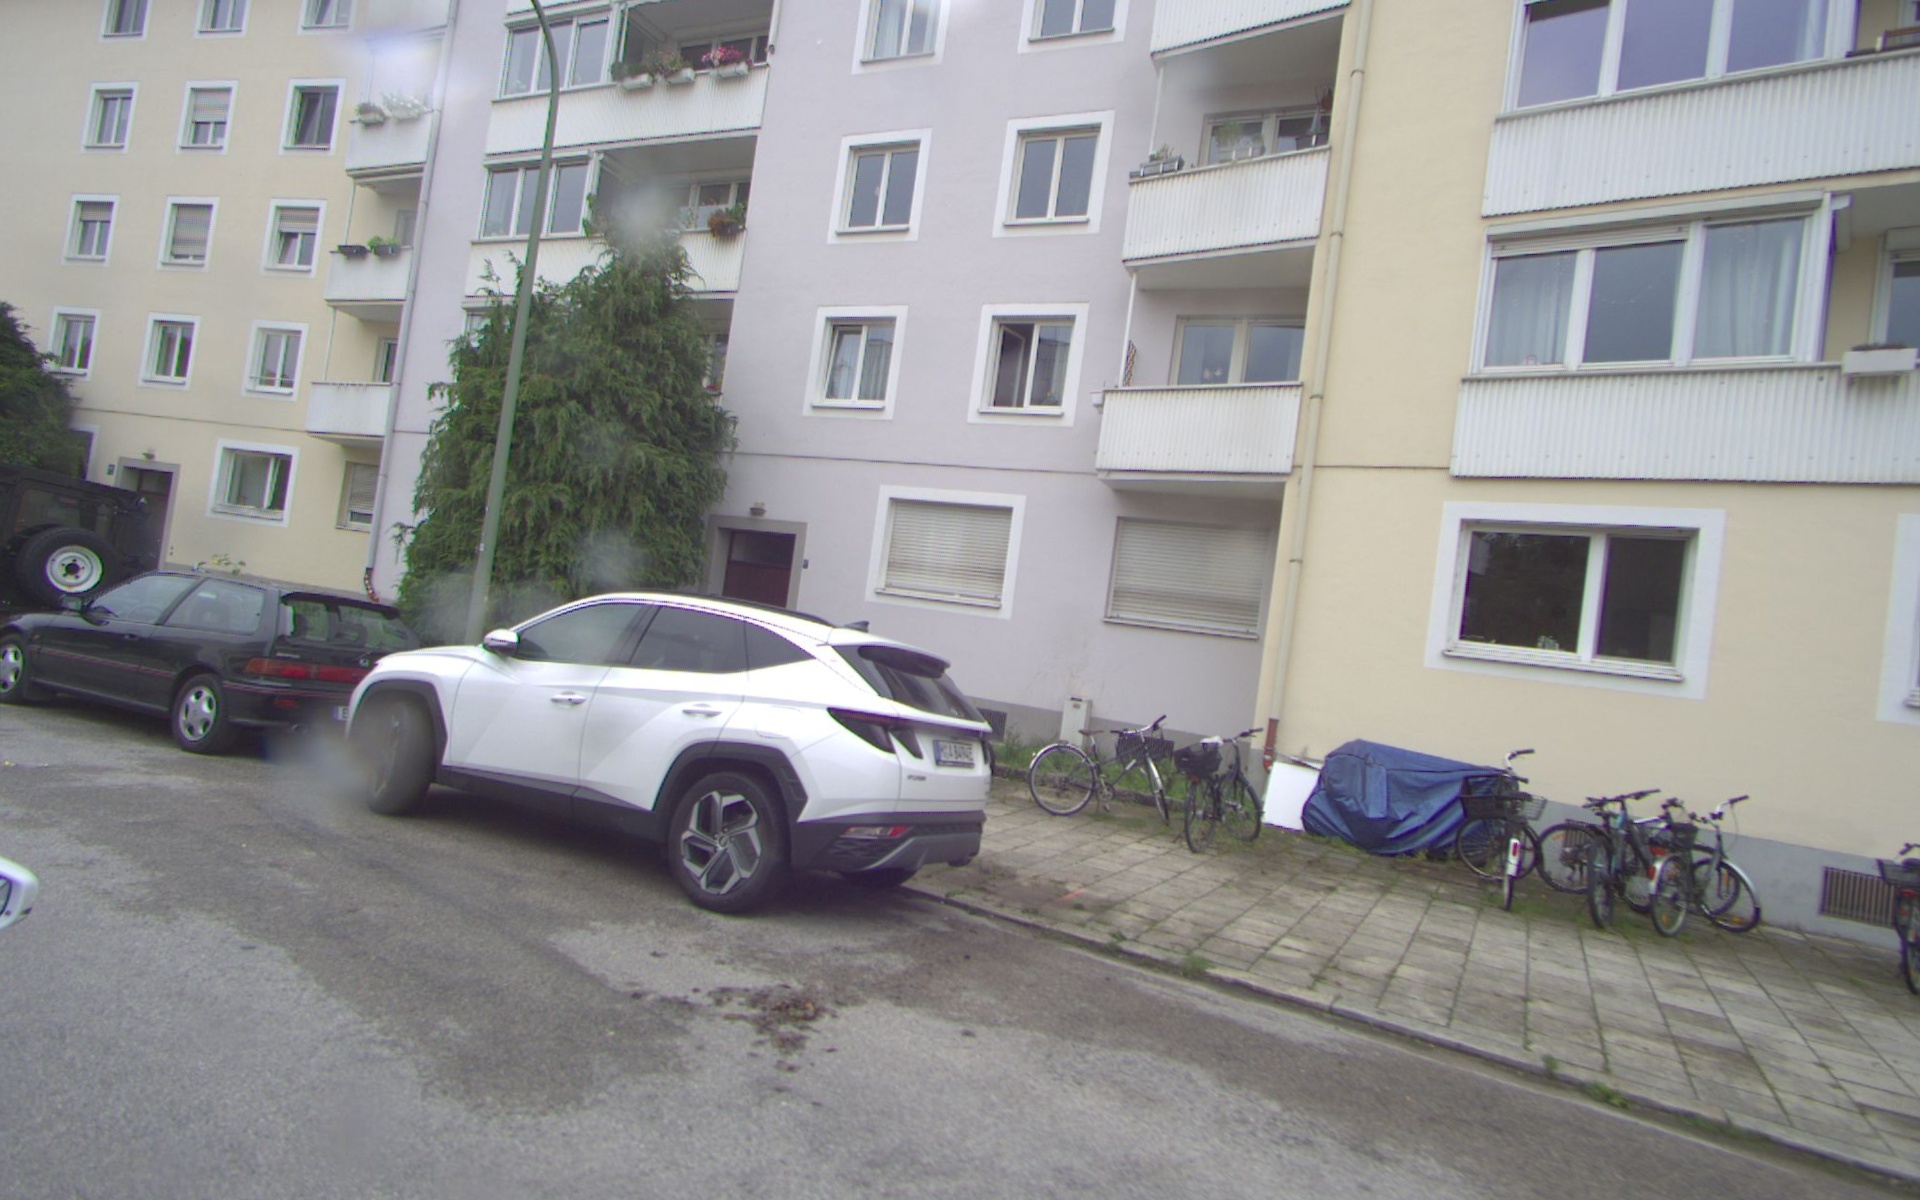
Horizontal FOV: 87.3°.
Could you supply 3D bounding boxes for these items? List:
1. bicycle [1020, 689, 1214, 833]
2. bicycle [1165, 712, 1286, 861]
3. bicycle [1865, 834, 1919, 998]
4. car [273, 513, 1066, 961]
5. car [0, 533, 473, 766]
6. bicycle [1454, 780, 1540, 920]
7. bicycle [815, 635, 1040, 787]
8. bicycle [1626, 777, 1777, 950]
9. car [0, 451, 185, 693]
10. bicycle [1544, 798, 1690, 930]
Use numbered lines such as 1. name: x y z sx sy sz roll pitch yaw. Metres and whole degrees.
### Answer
1. bicycle: 1.590 1.637 10.362 1.798 1.172 0.578 7 0 2
2. bicycle: 2.589 1.722 9.665 0.568 1.172 1.830 7 -1 29
3. bicycle: 7.289 2.358 7.571 1.495 1.002 0.475 8 0 -42
4. car: -1.878 0.686 6.549 4.529 1.695 2.036 8 -4 24
5. car: -6.280 0.389 8.476 3.734 1.362 1.667 6 -5 21
6. bicycle: 4.620 2.117 8.720 0.436 0.868 1.472 7 0 23
7. bicycle: -0.400 1.261 11.891 2.425 1.385 0.744 7 1 21
8. bicycle: 6.180 2.153 8.350 1.691 1.236 0.428 9 -1 -37
9. car: -10.508 -0.483 10.452 4.434 2.103 1.756 8 -4 25
10. bicycle: 5.652 2.226 8.614 1.692 0.953 0.428 9 -2 -37
